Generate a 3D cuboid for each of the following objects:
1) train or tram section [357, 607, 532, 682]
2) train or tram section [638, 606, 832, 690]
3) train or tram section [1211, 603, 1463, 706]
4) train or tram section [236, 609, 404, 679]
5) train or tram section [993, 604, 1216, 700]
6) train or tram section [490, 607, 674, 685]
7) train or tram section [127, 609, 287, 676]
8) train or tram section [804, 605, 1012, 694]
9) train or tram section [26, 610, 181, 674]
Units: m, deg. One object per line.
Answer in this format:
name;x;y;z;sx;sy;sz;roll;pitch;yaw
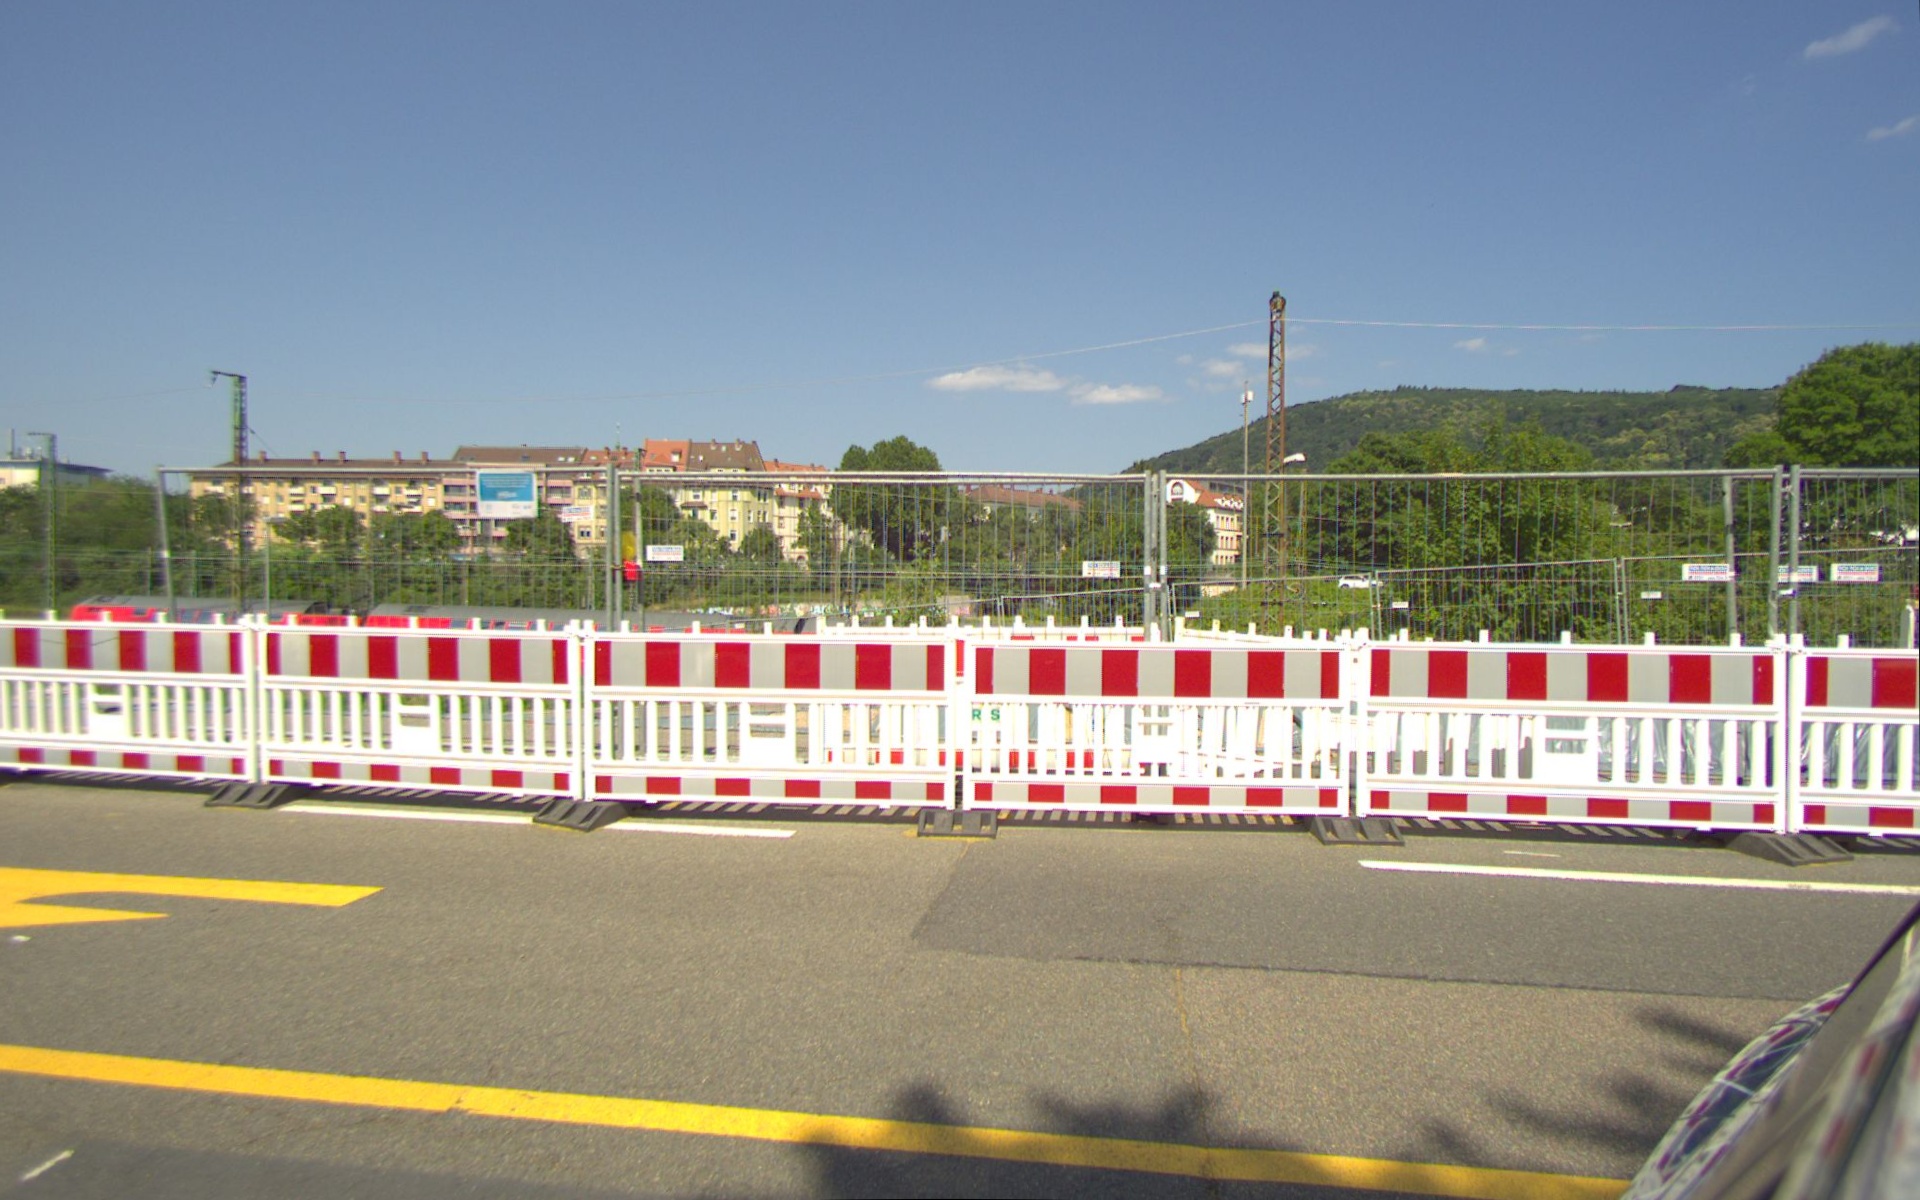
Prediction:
train or tram section;-27.491;2.304;53.985;8.852;3.751;3.006;-1;-1;18
train or tram section;-10.718;2.186;48.207;8.856;3.751;3.005;-1;-1;19
train or tram section;14.435;2.022;39.455;8.855;3.749;3.005;-1;-1;19
train or tram section;-35.891;2.384;56.768;8.852;3.751;3.006;-1;-1;18
train or tram section;6.047;2.073;42.363;8.856;3.762;3.005;-1;-1;19
train or tram section;-19.089;2.249;51.125;8.856;3.751;3.005;-1;-1;19
train or tram section;-44.309;2.445;59.551;8.852;3.751;3.006;-1;-1;18
train or tram section;-2.348;2.124;45.287;8.856;3.759;3.005;-1;-1;19
train or tram section;-52.736;2.499;62.296;8.850;3.751;3.007;0;-1;17
